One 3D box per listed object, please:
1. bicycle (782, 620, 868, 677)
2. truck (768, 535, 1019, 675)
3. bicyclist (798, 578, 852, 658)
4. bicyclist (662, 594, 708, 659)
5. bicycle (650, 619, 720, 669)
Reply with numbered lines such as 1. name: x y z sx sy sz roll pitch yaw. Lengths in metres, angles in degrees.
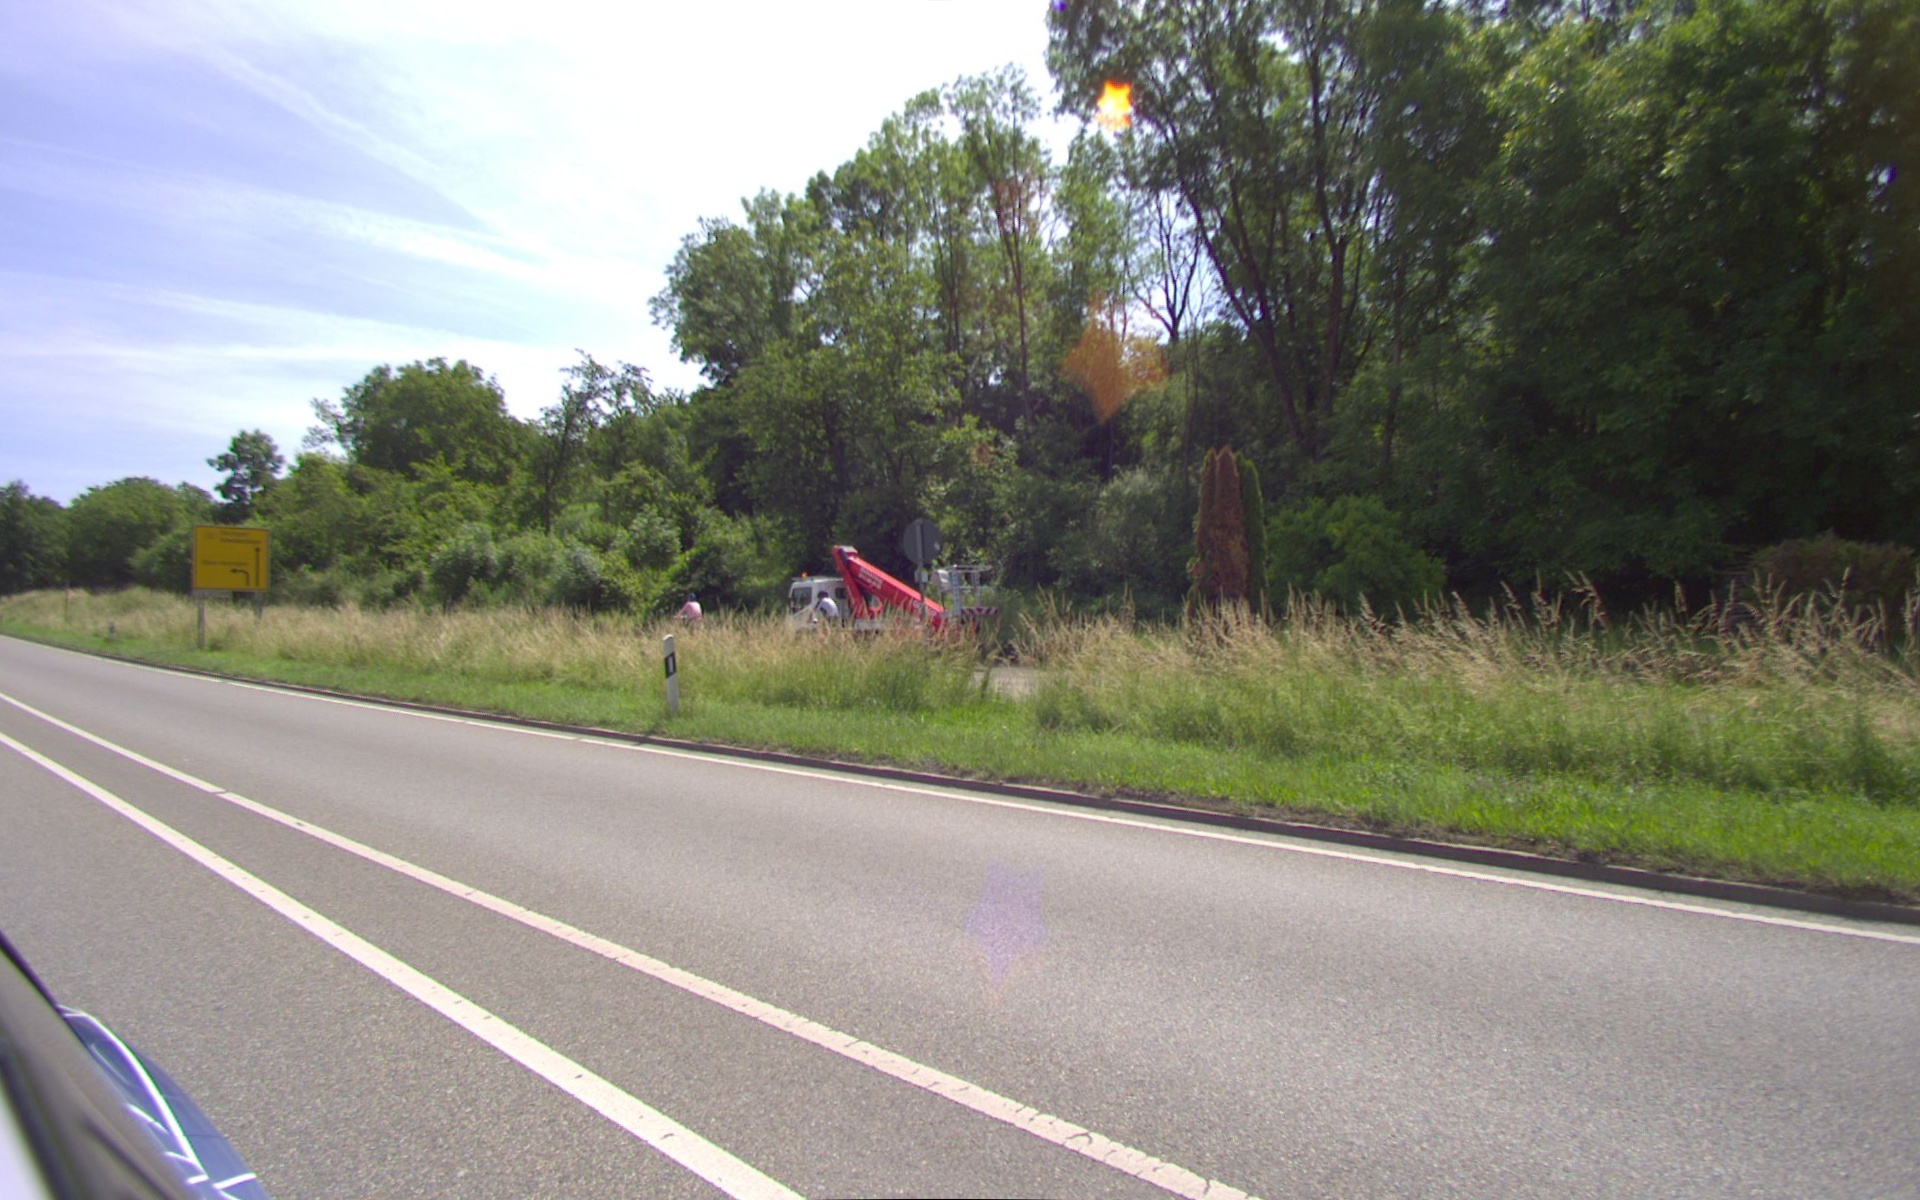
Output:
1. bicycle: -3.036 1.060 22.600 2.106 1.189 0.740 -1 0 45
2. truck: -1.816 0.129 24.746 6.774 2.986 2.004 -1 0 43
3. bicyclist: -3.002 0.393 22.556 0.936 1.727 0.739 -1 0 44
4. bicyclist: -7.102 0.675 26.127 0.936 1.607 0.740 -1 0 42
5. bicycle: -7.117 1.107 26.141 2.104 1.221 0.740 -1 0 43
